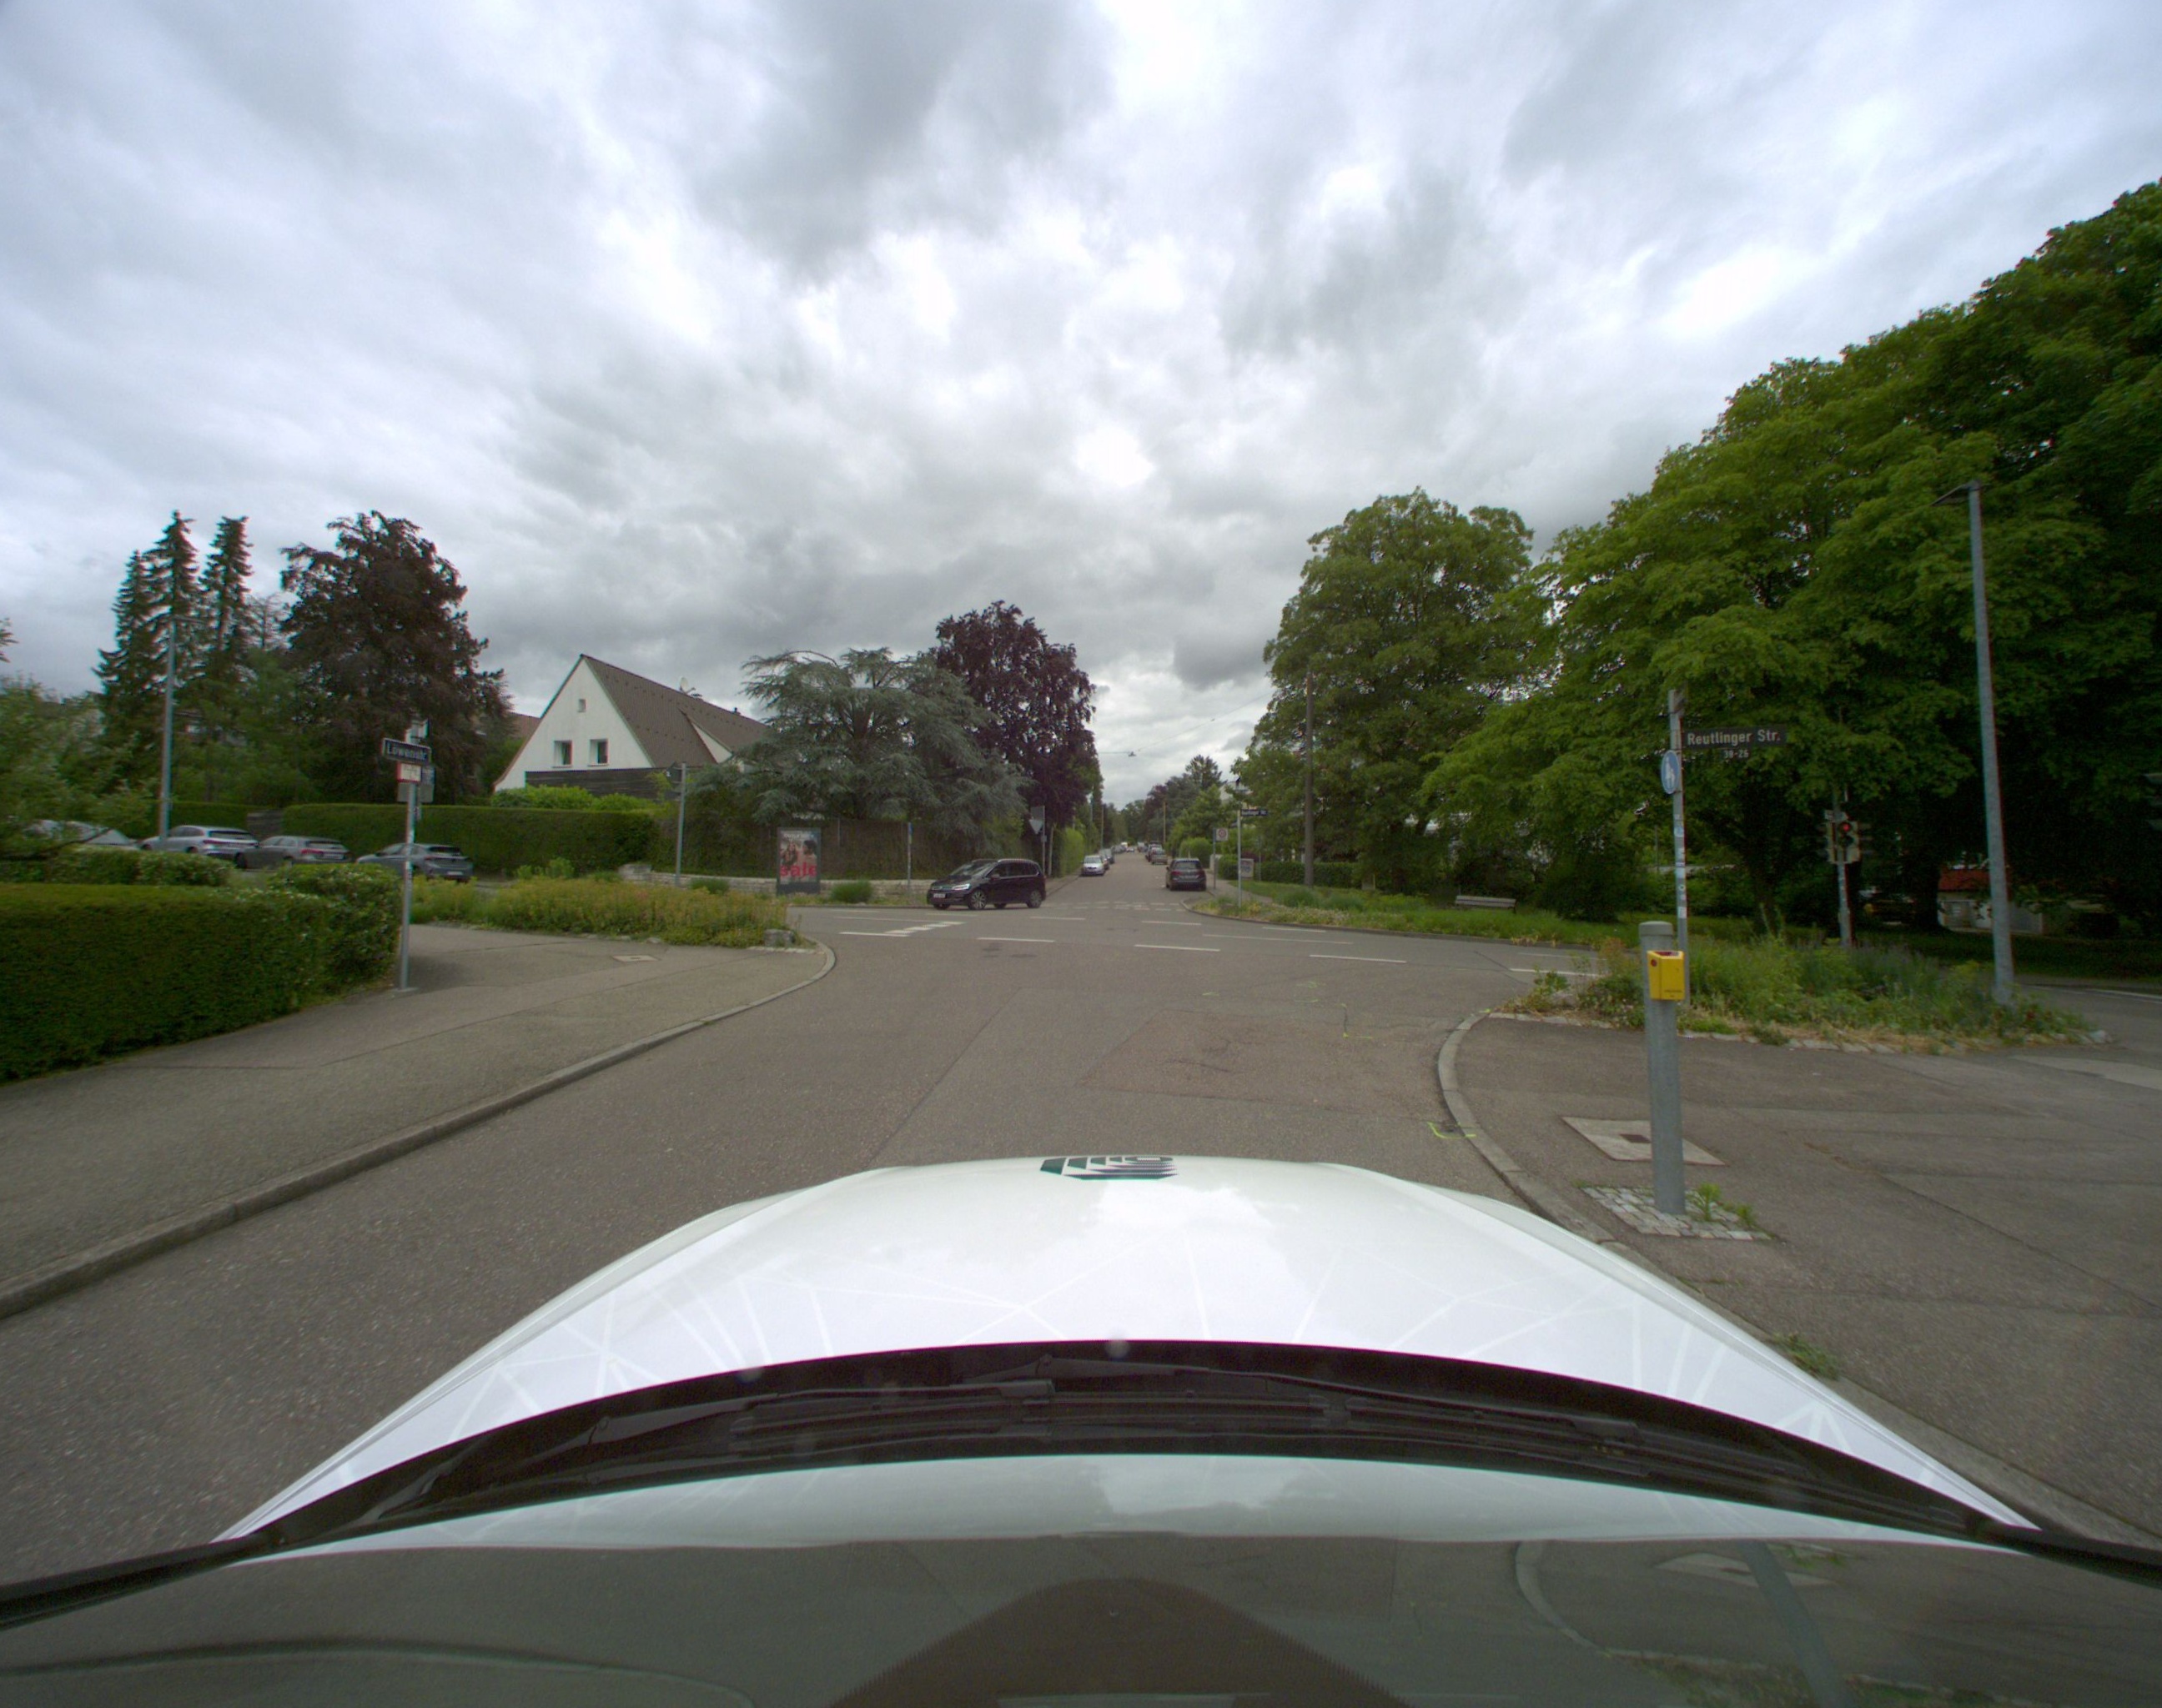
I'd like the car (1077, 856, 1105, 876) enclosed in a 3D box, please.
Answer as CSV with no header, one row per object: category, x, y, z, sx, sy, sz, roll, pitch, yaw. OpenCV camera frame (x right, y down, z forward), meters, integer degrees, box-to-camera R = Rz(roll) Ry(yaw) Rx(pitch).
car,0.772,0.844,60.706,1.939,1.442,4.002,0,0,2

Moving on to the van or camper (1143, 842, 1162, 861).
van or camper,9.235,-0.286,105.682,2.105,2.405,5.247,0,-1,1

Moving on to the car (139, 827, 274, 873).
car,-34.464,-0.157,32.127,4.126,1.582,1.869,2,-3,17

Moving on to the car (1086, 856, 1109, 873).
car,1.486,0.915,71.357,1.939,1.442,4.002,0,0,2

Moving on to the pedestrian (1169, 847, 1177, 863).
pedestrian,10.719,0.156,94.964,0.754,1.871,0.620,2,0,3

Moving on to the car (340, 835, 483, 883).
car,-23.503,0.181,28.622,3.956,1.464,1.869,2,-3,17

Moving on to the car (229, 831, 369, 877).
car,-29.073,0.021,30.313,4.126,1.464,1.869,2,-3,17

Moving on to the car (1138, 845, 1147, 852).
car,13.759,-1.201,182.071,1.807,1.574,4.003,0,0,3

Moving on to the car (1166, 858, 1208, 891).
car,5.231,0.966,40.574,1.809,1.536,4.003,0,0,3

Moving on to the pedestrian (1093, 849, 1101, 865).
pedestrian,2.050,0.354,104.743,0.851,2.013,0.872,2,0,-2

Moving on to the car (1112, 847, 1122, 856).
car,6.652,-0.474,149.204,1.707,1.463,3.660,2,0,4

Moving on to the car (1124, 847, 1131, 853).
car,11.213,-1.011,195.817,1.648,1.335,3.784,2,0,3

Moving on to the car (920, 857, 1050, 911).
car,-3.040,0.907,26.587,1.830,1.611,4.338,0,-1,34

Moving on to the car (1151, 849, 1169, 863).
car,8.129,0.225,83.976,1.603,1.413,3.474,2,0,1

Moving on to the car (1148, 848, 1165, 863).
car,8.605,0.197,93.622,1.740,1.640,3.729,0,0,2
